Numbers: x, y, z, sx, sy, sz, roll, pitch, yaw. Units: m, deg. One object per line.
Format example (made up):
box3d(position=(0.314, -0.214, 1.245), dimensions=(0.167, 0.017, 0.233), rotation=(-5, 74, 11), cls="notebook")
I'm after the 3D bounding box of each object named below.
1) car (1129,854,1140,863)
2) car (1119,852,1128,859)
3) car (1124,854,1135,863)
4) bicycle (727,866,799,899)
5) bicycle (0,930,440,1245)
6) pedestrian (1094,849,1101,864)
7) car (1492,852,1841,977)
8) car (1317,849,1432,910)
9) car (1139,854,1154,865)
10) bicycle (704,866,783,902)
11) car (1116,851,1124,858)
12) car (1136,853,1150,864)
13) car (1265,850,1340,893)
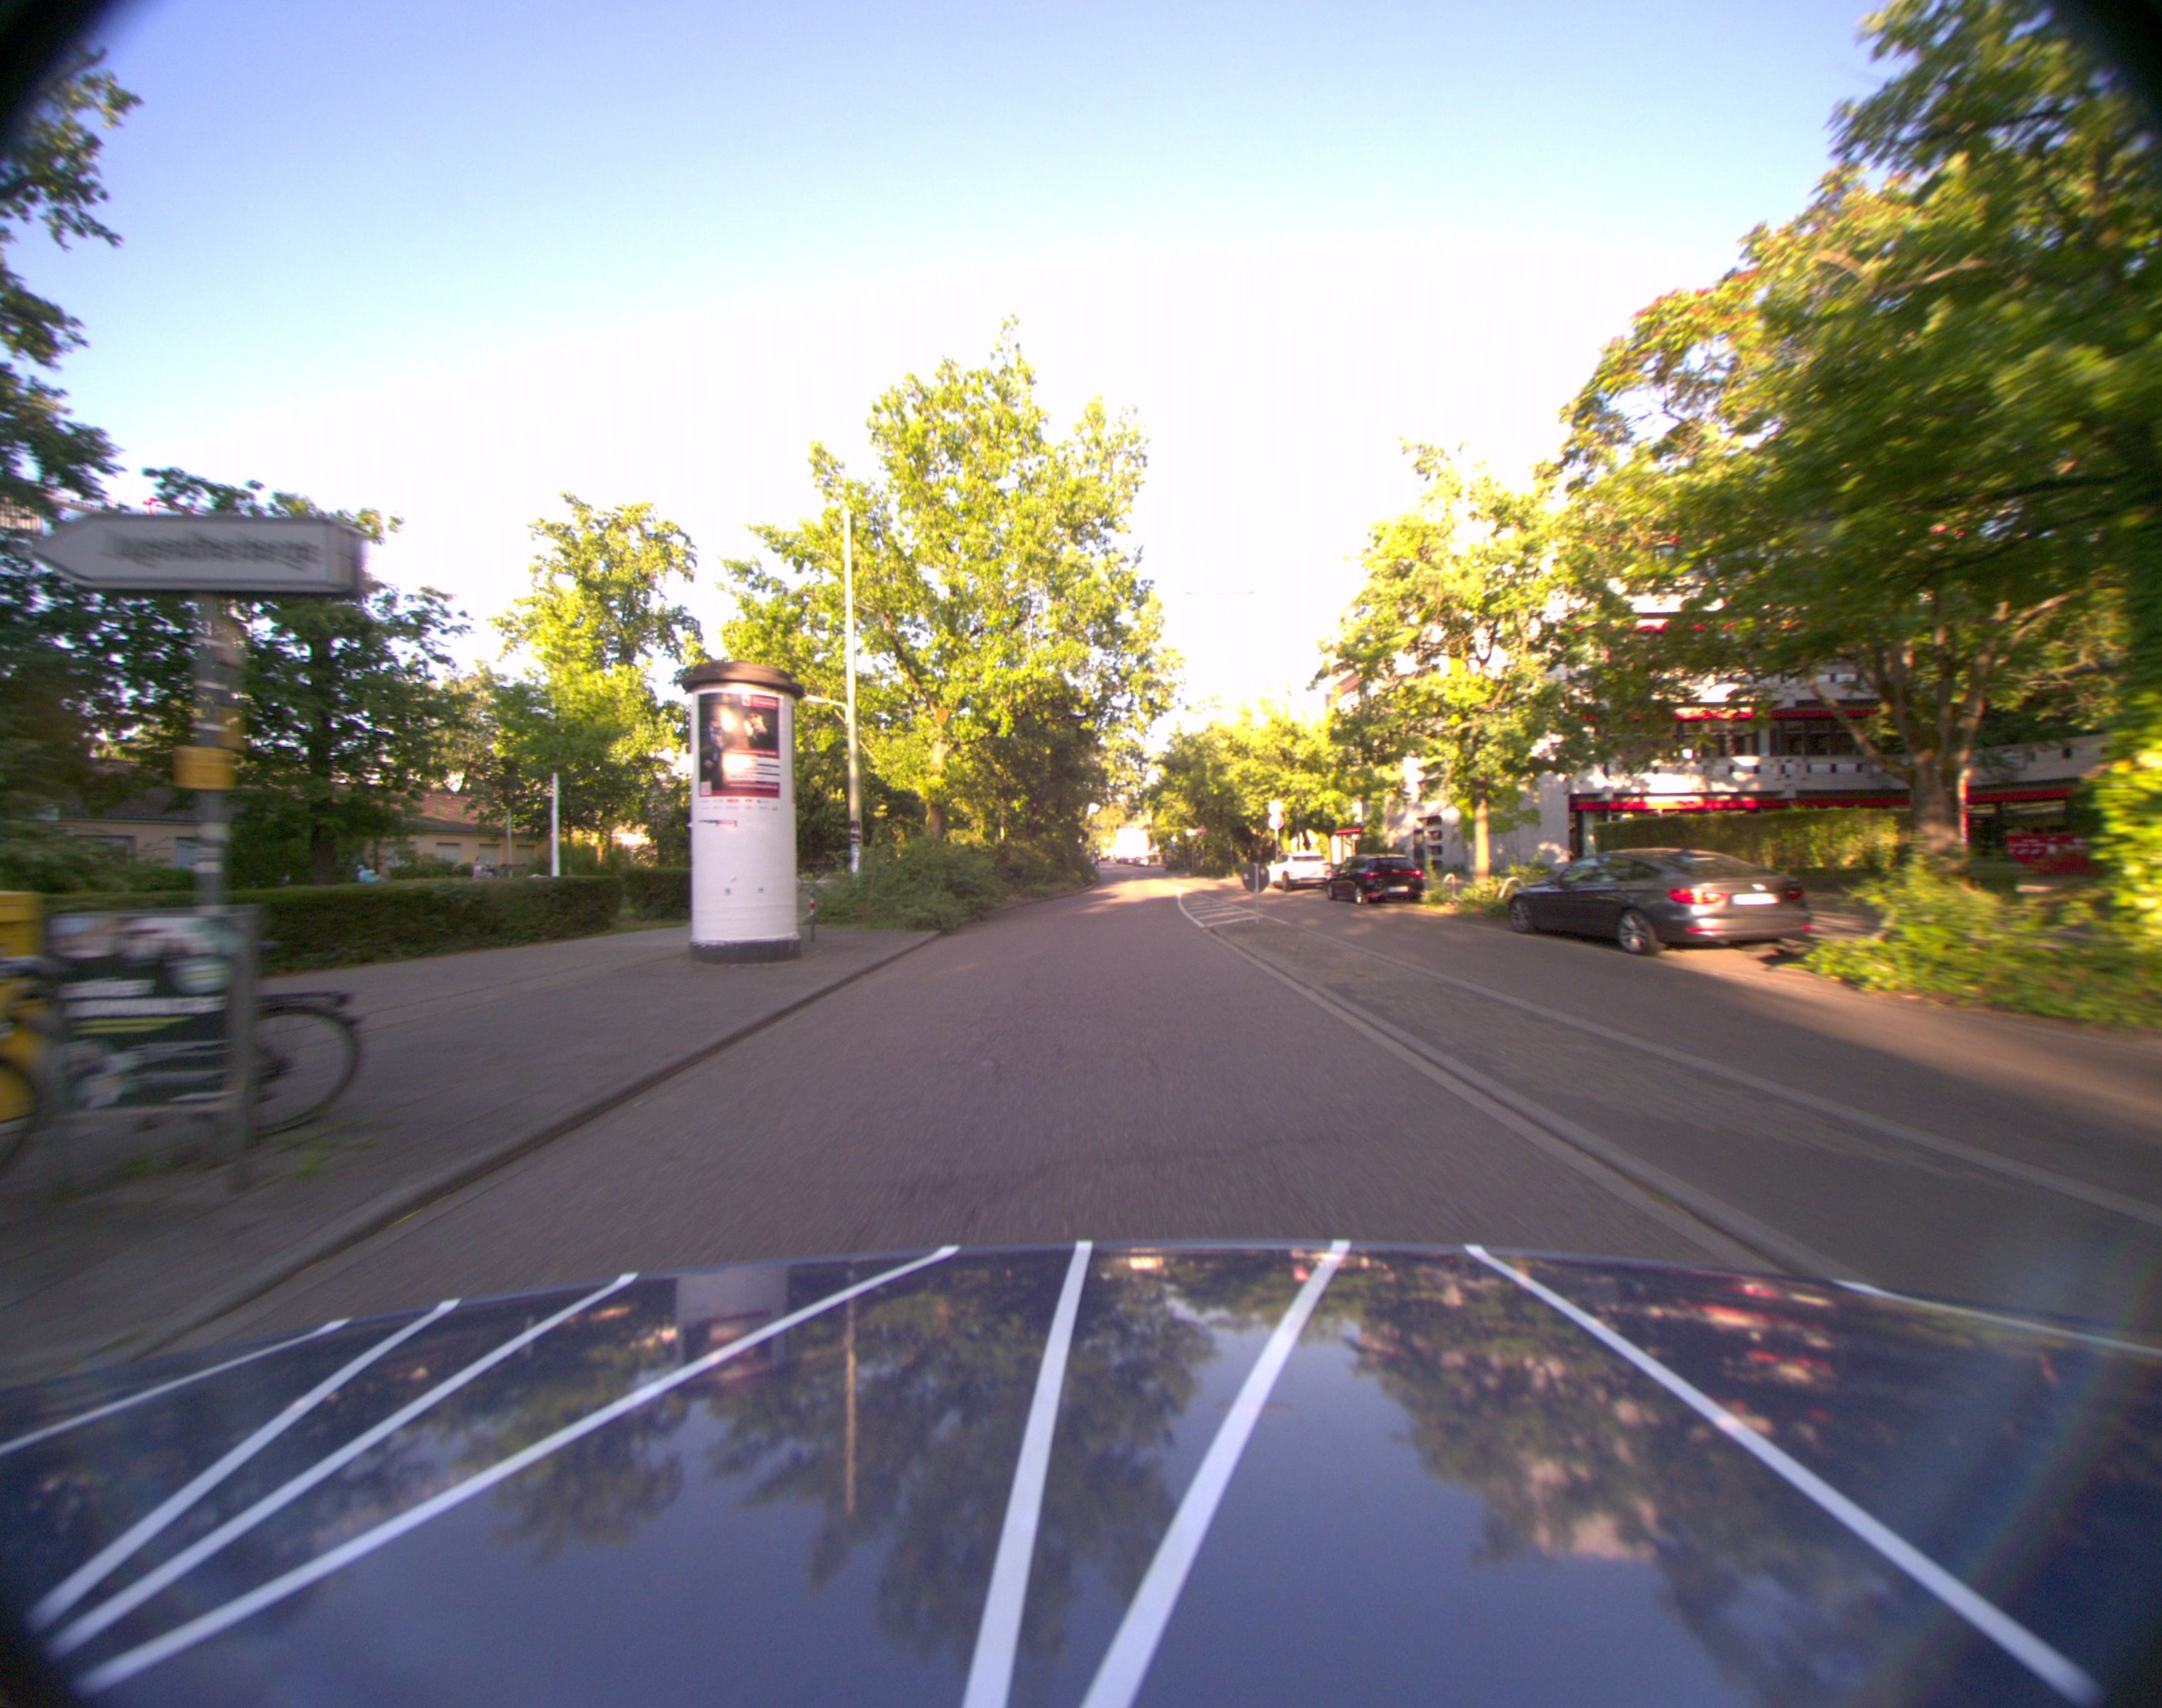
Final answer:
box3d(position=(9.703, 0.790, 137.890), dimensions=(1.776, 1.559, 4.109), rotation=(-2, 0, 0), cls="car")
box3d(position=(9.854, 0.347, 177.509), dimensions=(1.776, 1.559, 4.109), rotation=(-2, 0, 0), cls="car")
box3d(position=(9.767, 0.899, 153.027), dimensions=(1.776, 1.559, 4.109), rotation=(-2, 0, 0), cls="car")
box3d(position=(-12.273, 1.086, 29.414), dimensions=(2.452, 1.214, 0.750), rotation=(-1, 1, -16), cls="bicycle")
box3d(position=(-4.503, 1.033, 3.581), dimensions=(0.493, 1.141, 2.289), rotation=(2, 0, 20), cls="bicycle")
box3d(position=(2.148, 0.337, 98.652), dimensions=(0.784, 1.825, 0.672), rotation=(-3, 0, 4), cls="pedestrian")
box3d(position=(8.646, 0.757, 11.946), dimensions=(1.807, 1.502, 4.862), rotation=(-2, 0, 1), cls="car")
box3d(position=(8.615, 0.685, 22.715), dimensions=(1.784, 1.607, 4.147), rotation=(-2, 0, 0), cls="car")
box3d(position=(9.255, 0.808, 107.985), dimensions=(1.776, 1.474, 4.109), rotation=(-2, 0, 0), cls="car")
box3d(position=(-12.062, 1.066, 27.206), dimensions=(2.451, 1.214, 0.750), rotation=(-1, 1, -13), cls="bicycle")
box3d(position=(10.070, 0.155, 198.124), dimensions=(1.776, 1.559, 4.109), rotation=(-2, 0, 0), cls="car")
box3d(position=(9.311, 0.731, 114.231), dimensions=(1.776, 1.559, 4.109), rotation=(-2, 0, 0), cls="car")
box3d(position=(8.820, 0.650, 30.667), dimensions=(1.808, 1.607, 4.147), rotation=(-1, 0, 0), cls="car")
